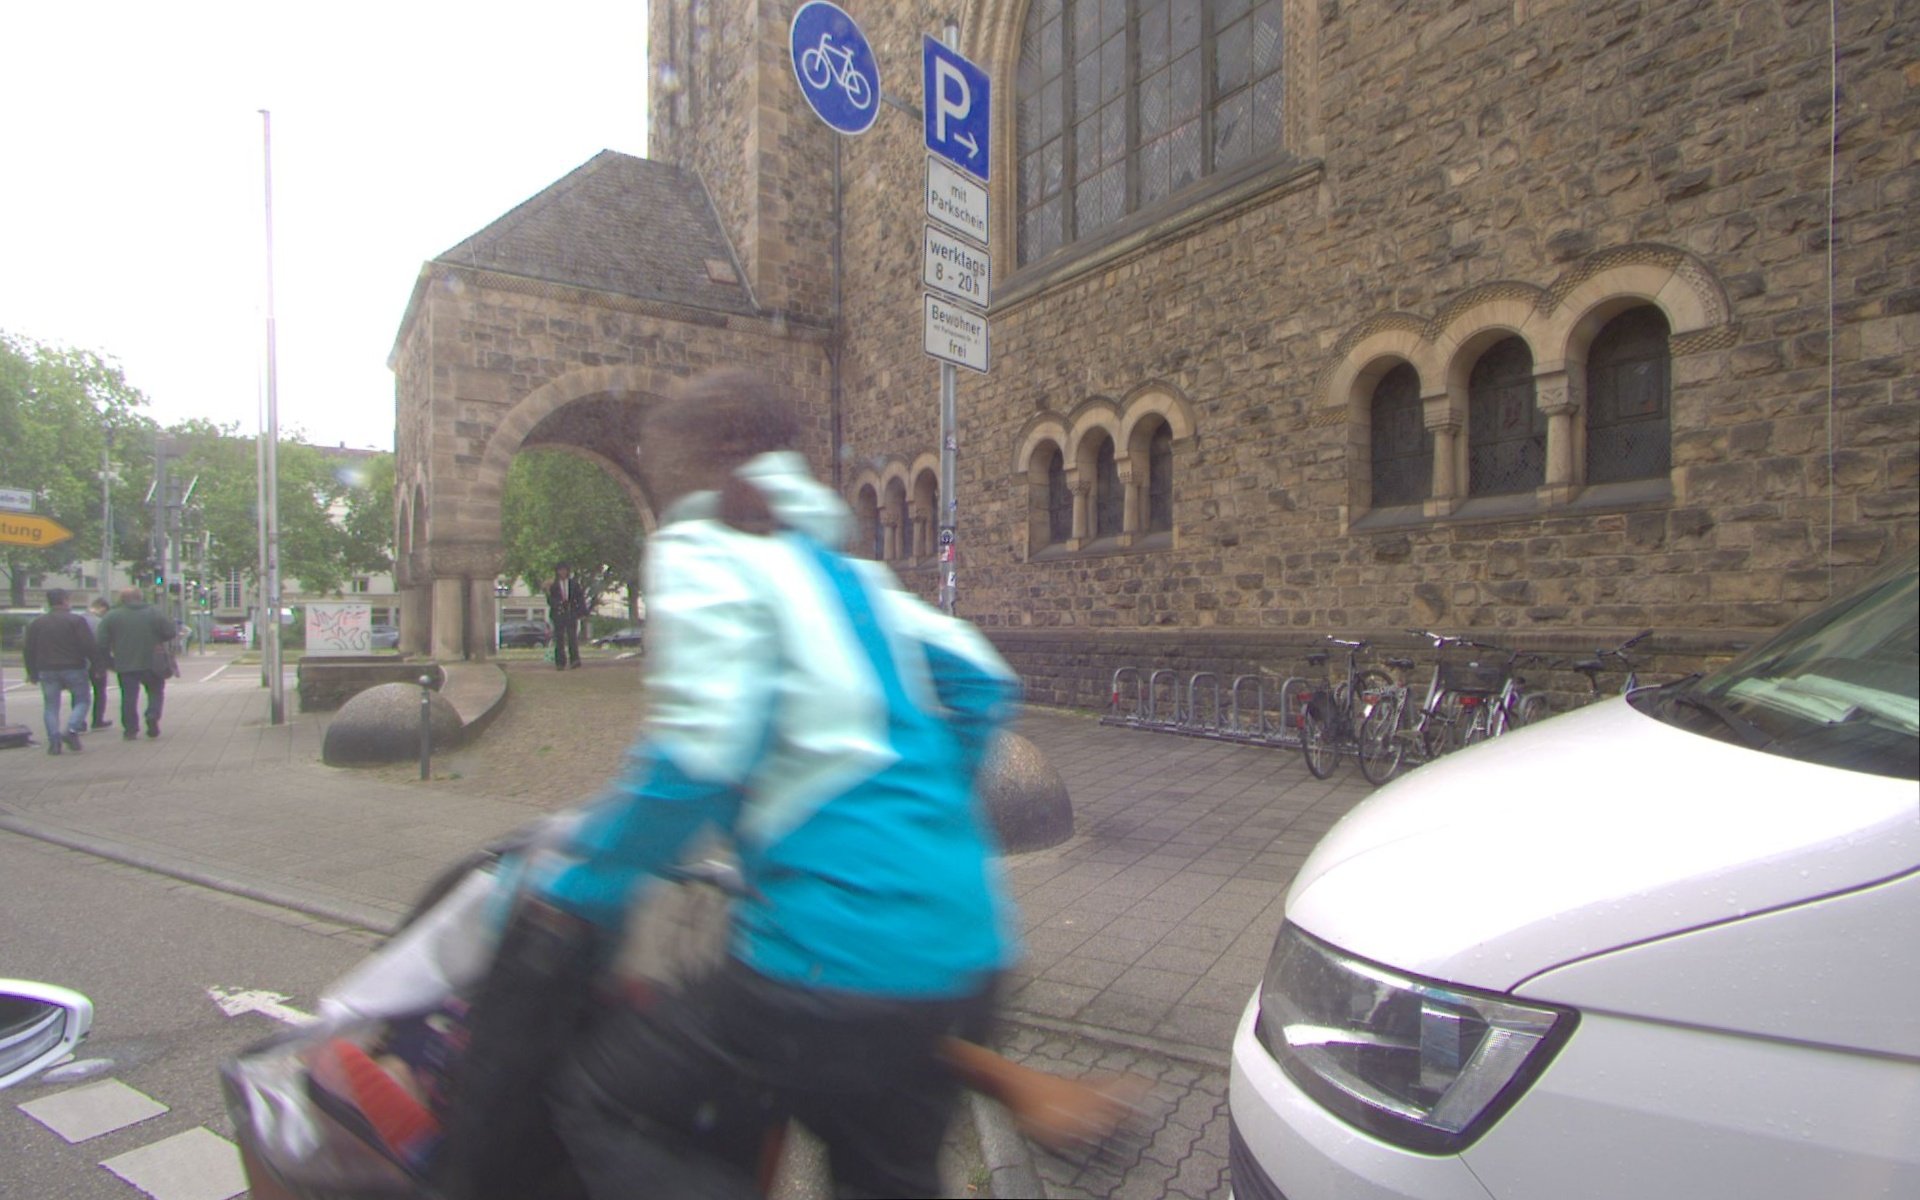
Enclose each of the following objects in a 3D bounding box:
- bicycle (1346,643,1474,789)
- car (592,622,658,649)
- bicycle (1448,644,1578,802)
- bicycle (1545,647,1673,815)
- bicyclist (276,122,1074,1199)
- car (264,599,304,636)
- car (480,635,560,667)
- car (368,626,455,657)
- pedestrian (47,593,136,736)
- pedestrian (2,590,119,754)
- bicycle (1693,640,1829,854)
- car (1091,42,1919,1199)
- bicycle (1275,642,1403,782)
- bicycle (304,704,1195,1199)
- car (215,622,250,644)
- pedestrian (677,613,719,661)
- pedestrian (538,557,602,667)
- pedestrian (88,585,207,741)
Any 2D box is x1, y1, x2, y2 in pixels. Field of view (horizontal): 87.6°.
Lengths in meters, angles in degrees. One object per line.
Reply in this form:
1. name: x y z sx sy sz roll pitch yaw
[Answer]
1. bicycle: 3.630 0.892 8.033 1.366 1.073 0.309 1 -1 -36
2. car: -19.947 2.102 59.733 3.423 1.581 1.676 1 -1 -35
3. bicycle: 4.157 0.880 7.499 1.366 1.073 0.309 1 -1 -36
4. bicycle: 4.592 0.879 7.058 1.327 1.073 0.309 1 -1 -36
5. bicyclist: -0.460 0.413 1.392 0.681 1.537 1.048 0 -1 -42
6. car: -50.498 1.314 74.913 2.211 2.673 5.417 1 -1 -31
7. car: -24.830 2.847 56.562 3.899 1.733 1.676 1 -1 -35
8. car: -29.220 2.174 53.402 3.939 1.581 1.676 1 -1 -35
9. pedestrian: -10.803 0.774 12.453 0.957 1.696 0.630 0 2 39
10. pedestrian: -9.847 0.754 10.965 0.955 1.708 0.673 0 2 32
11. bicycle: 4.840 0.828 6.026 1.327 1.161 0.309 1 -1 -36
12. car: 2.804 0.467 0.789 5.088 1.945 1.802 -1 -1 31
13. bicycle: 3.182 0.900 8.362 1.366 1.073 0.309 1 -1 -36
14. bicycle: -0.633 0.815 1.722 0.490 1.112 2.119 0 -1 -43
15. car: -51.441 2.322 70.834 1.647 1.535 3.916 1 -1 -31
16. pedestrian: -5.395 0.760 20.646 0.665 0.964 0.611 0 -1 -36
17. pedestrian: -6.785 0.214 17.420 0.806 1.832 1.012 0 0 -37
18. pedestrian: -9.722 0.718 11.990 0.955 1.782 0.802 0 2 32
